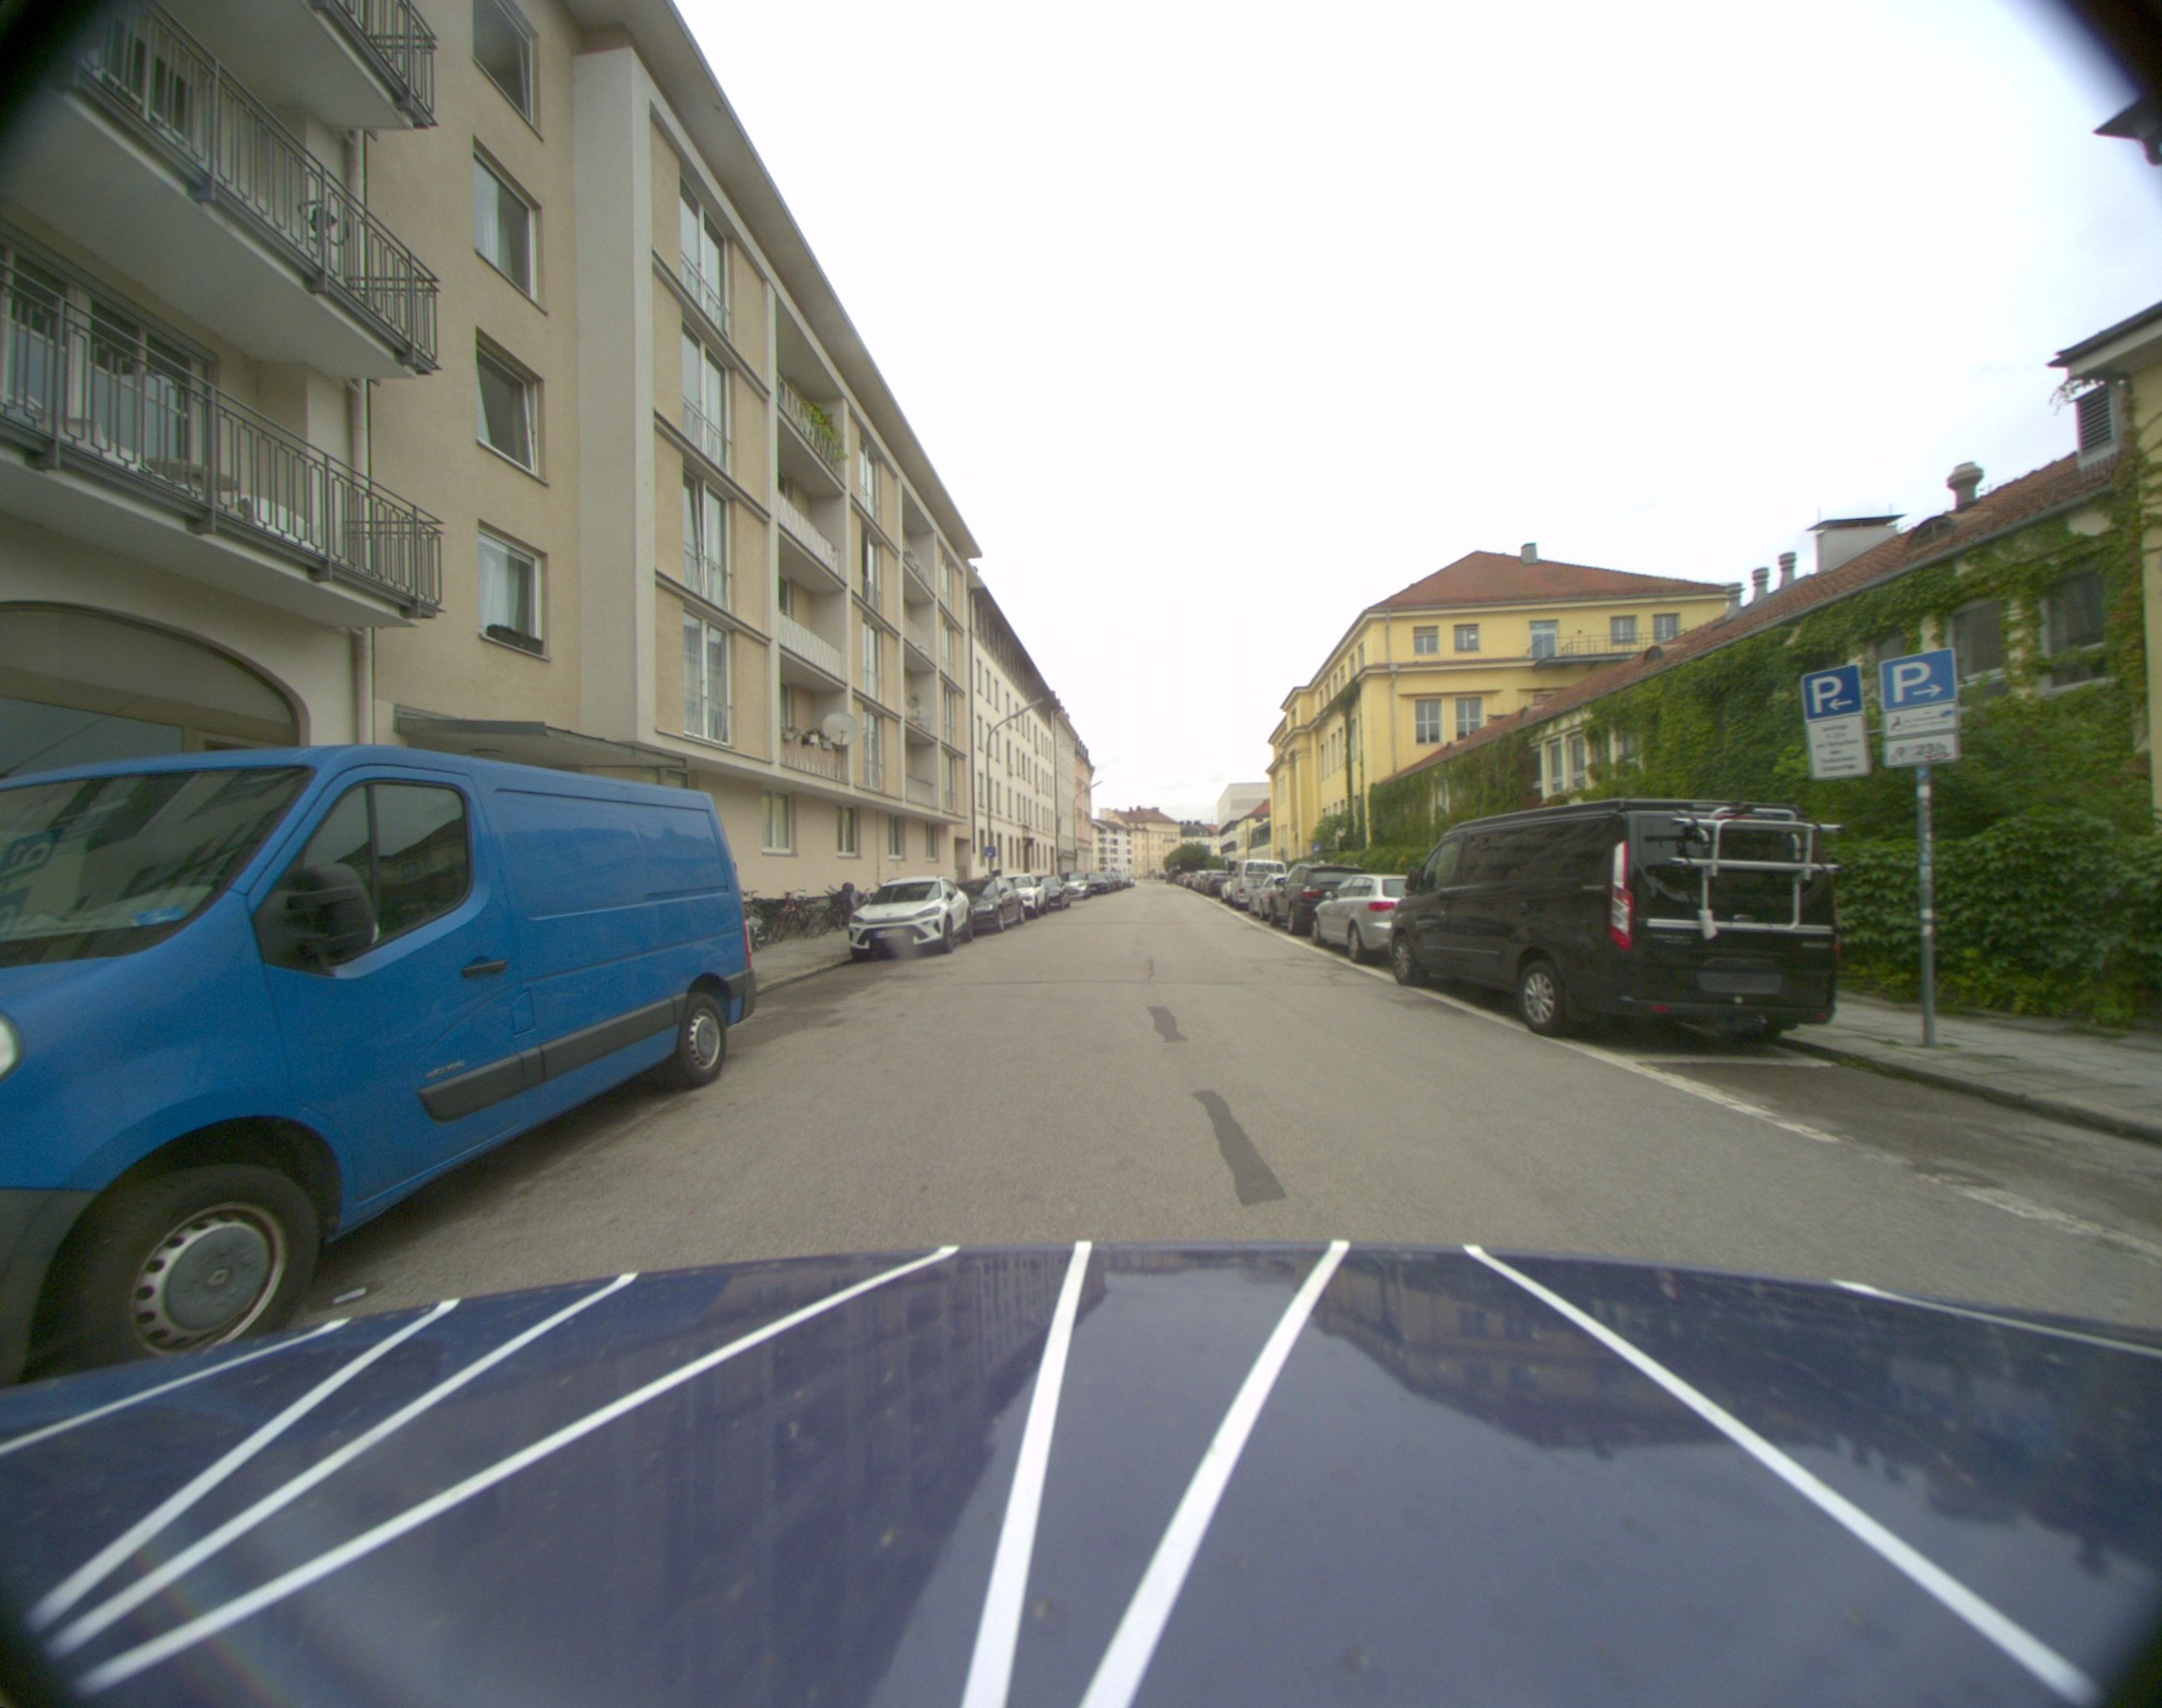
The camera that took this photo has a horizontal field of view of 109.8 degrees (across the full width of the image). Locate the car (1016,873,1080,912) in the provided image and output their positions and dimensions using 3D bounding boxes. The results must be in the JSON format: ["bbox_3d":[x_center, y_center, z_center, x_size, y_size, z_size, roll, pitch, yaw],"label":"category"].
[{"bbox_3d":[-1.234,1.481,30.465,1.831,1.373,4.494,-3,-2,6],"label":"car"}]

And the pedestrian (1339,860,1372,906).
[{"bbox_3d":[9.199,0.963,25.449,0.844,1.485,0.873,-1,-1,7],"label":"pedestrian"}]

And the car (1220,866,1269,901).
[{"bbox_3d":[7.250,1.301,33.941,1.670,1.401,3.561,2,-1,5],"label":"car"}]

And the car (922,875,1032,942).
[{"bbox_3d":[-2.678,1.400,20.826,1.776,1.420,4.696,-6,-2,6],"label":"car"}]

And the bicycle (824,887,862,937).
[{"bbox_3d":[-6.266,1.519,20.055,0.448,1.195,1.371,2,0,3],"label":"bicycle"}]

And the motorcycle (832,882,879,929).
[{"bbox_3d":[-6.598,1.495,22.333,0.637,1.263,2.042,0,-1,5],"label":"motorcycle"}]

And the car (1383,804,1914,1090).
[{"bbox_3d":[4.959,0.714,7.716,1.930,1.967,4.623,2,-1,1],"label":"car"}]

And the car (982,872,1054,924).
[{"bbox_3d":[-2.057,1.422,25.819,1.706,1.459,4.122,-5,-1,4],"label":"car"}]

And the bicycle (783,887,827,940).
[{"bbox_3d":[-6.851,1.463,18.905,0.417,1.195,1.286,3,0,10],"label":"bicycle"}]

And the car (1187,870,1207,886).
[{"bbox_3d":[11.105,2.315,73.026,1.737,1.430,3.782,2,-1,6],"label":"car"}]

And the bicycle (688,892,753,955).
[{"bbox_3d":[-7.548,1.425,15.962,0.447,1.195,1.396,3,0,12],"label":"bicycle"}]

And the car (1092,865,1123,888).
[{"bbox_3d":[2.023,1.642,56.127,1.831,1.572,4.494,-2,-2,7],"label":"car"}]

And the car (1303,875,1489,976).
[{"bbox_3d":[5.154,1.097,13.027,1.710,1.357,4.004,3,-1,4],"label":"car"}]

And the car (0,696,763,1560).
[{"bbox_3d":[-3.870,0.747,3.960,2.114,2.201,5.027,-6,1,0],"label":"car"}]

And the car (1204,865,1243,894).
[{"bbox_3d":[8.237,1.463,44.106,1.721,1.472,4.222,3,-1,5],"label":"car"}]

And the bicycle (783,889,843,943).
[{"bbox_3d":[-6.464,1.477,18.397,0.397,1.195,1.569,3,0,21],"label":"bicycle"}]

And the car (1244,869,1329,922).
[{"bbox_3d":[6.294,1.215,23.749,1.807,1.369,4.494,4,0,6],"label":"car"}]

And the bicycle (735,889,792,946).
[{"bbox_3d":[-7.252,1.431,17.417,0.447,1.195,1.396,3,0,12],"label":"bicycle"}]

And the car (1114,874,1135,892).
[{"bbox_3d":[4.300,2.839,74.947,1.768,1.531,4.003,-4,-2,6],"label":"car"}]

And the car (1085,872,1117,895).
[{"bbox_3d":[1.391,1.960,51.284,1.877,1.439,4.703,-2,-2,5],"label":"car"}]

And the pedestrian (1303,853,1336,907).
[{"bbox_3d":[7.750,0.840,24.750,0.844,1.744,0.873,-1,-1,7],"label":"pedestrian"}]

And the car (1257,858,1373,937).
[{"bbox_3d":[5.469,0.959,18.331,1.706,1.597,4.493,2,-1,5],"label":"car"}]

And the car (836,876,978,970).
[{"bbox_3d":[-3.361,1.275,15.528,1.780,1.513,4.305,-5,-2,0],"label":"car"}]

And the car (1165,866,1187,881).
[{"bbox_3d":[16.013,3.287,128.022,2.847,2.536,6.894,0,-1,0],"label":"car"}]

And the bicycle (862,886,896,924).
[{"bbox_3d":[-6.471,1.618,24.379,0.514,1.150,1.602,0,-1,5],"label":"bicycle"}]

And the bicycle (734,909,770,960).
[{"bbox_3d":[-6.591,1.591,15.260,0.448,0.888,1.196,2,0,-15],"label":"bicycle"}]

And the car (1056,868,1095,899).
[{"bbox_3d":[-0.273,1.594,41.720,1.618,1.507,3.382,-5,-2,7],"label":"car"}]

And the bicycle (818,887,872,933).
[{"bbox_3d":[-6.493,1.531,20.940,1.342,1.195,0.394,2,1,-8],"label":"bicycle"}]

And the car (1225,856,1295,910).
[{"bbox_3d":[6.736,1.074,29.030,1.897,1.787,4.884,3,-1,6],"label":"car"}]

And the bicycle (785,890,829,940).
[{"bbox_3d":[-7.128,1.568,19.820,0.393,1.195,1.343,3,0,11],"label":"bicycle"}]

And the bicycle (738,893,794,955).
[{"bbox_3d":[-6.779,1.483,16.383,0.413,1.195,1.284,3,0,12],"label":"bicycle"}]
